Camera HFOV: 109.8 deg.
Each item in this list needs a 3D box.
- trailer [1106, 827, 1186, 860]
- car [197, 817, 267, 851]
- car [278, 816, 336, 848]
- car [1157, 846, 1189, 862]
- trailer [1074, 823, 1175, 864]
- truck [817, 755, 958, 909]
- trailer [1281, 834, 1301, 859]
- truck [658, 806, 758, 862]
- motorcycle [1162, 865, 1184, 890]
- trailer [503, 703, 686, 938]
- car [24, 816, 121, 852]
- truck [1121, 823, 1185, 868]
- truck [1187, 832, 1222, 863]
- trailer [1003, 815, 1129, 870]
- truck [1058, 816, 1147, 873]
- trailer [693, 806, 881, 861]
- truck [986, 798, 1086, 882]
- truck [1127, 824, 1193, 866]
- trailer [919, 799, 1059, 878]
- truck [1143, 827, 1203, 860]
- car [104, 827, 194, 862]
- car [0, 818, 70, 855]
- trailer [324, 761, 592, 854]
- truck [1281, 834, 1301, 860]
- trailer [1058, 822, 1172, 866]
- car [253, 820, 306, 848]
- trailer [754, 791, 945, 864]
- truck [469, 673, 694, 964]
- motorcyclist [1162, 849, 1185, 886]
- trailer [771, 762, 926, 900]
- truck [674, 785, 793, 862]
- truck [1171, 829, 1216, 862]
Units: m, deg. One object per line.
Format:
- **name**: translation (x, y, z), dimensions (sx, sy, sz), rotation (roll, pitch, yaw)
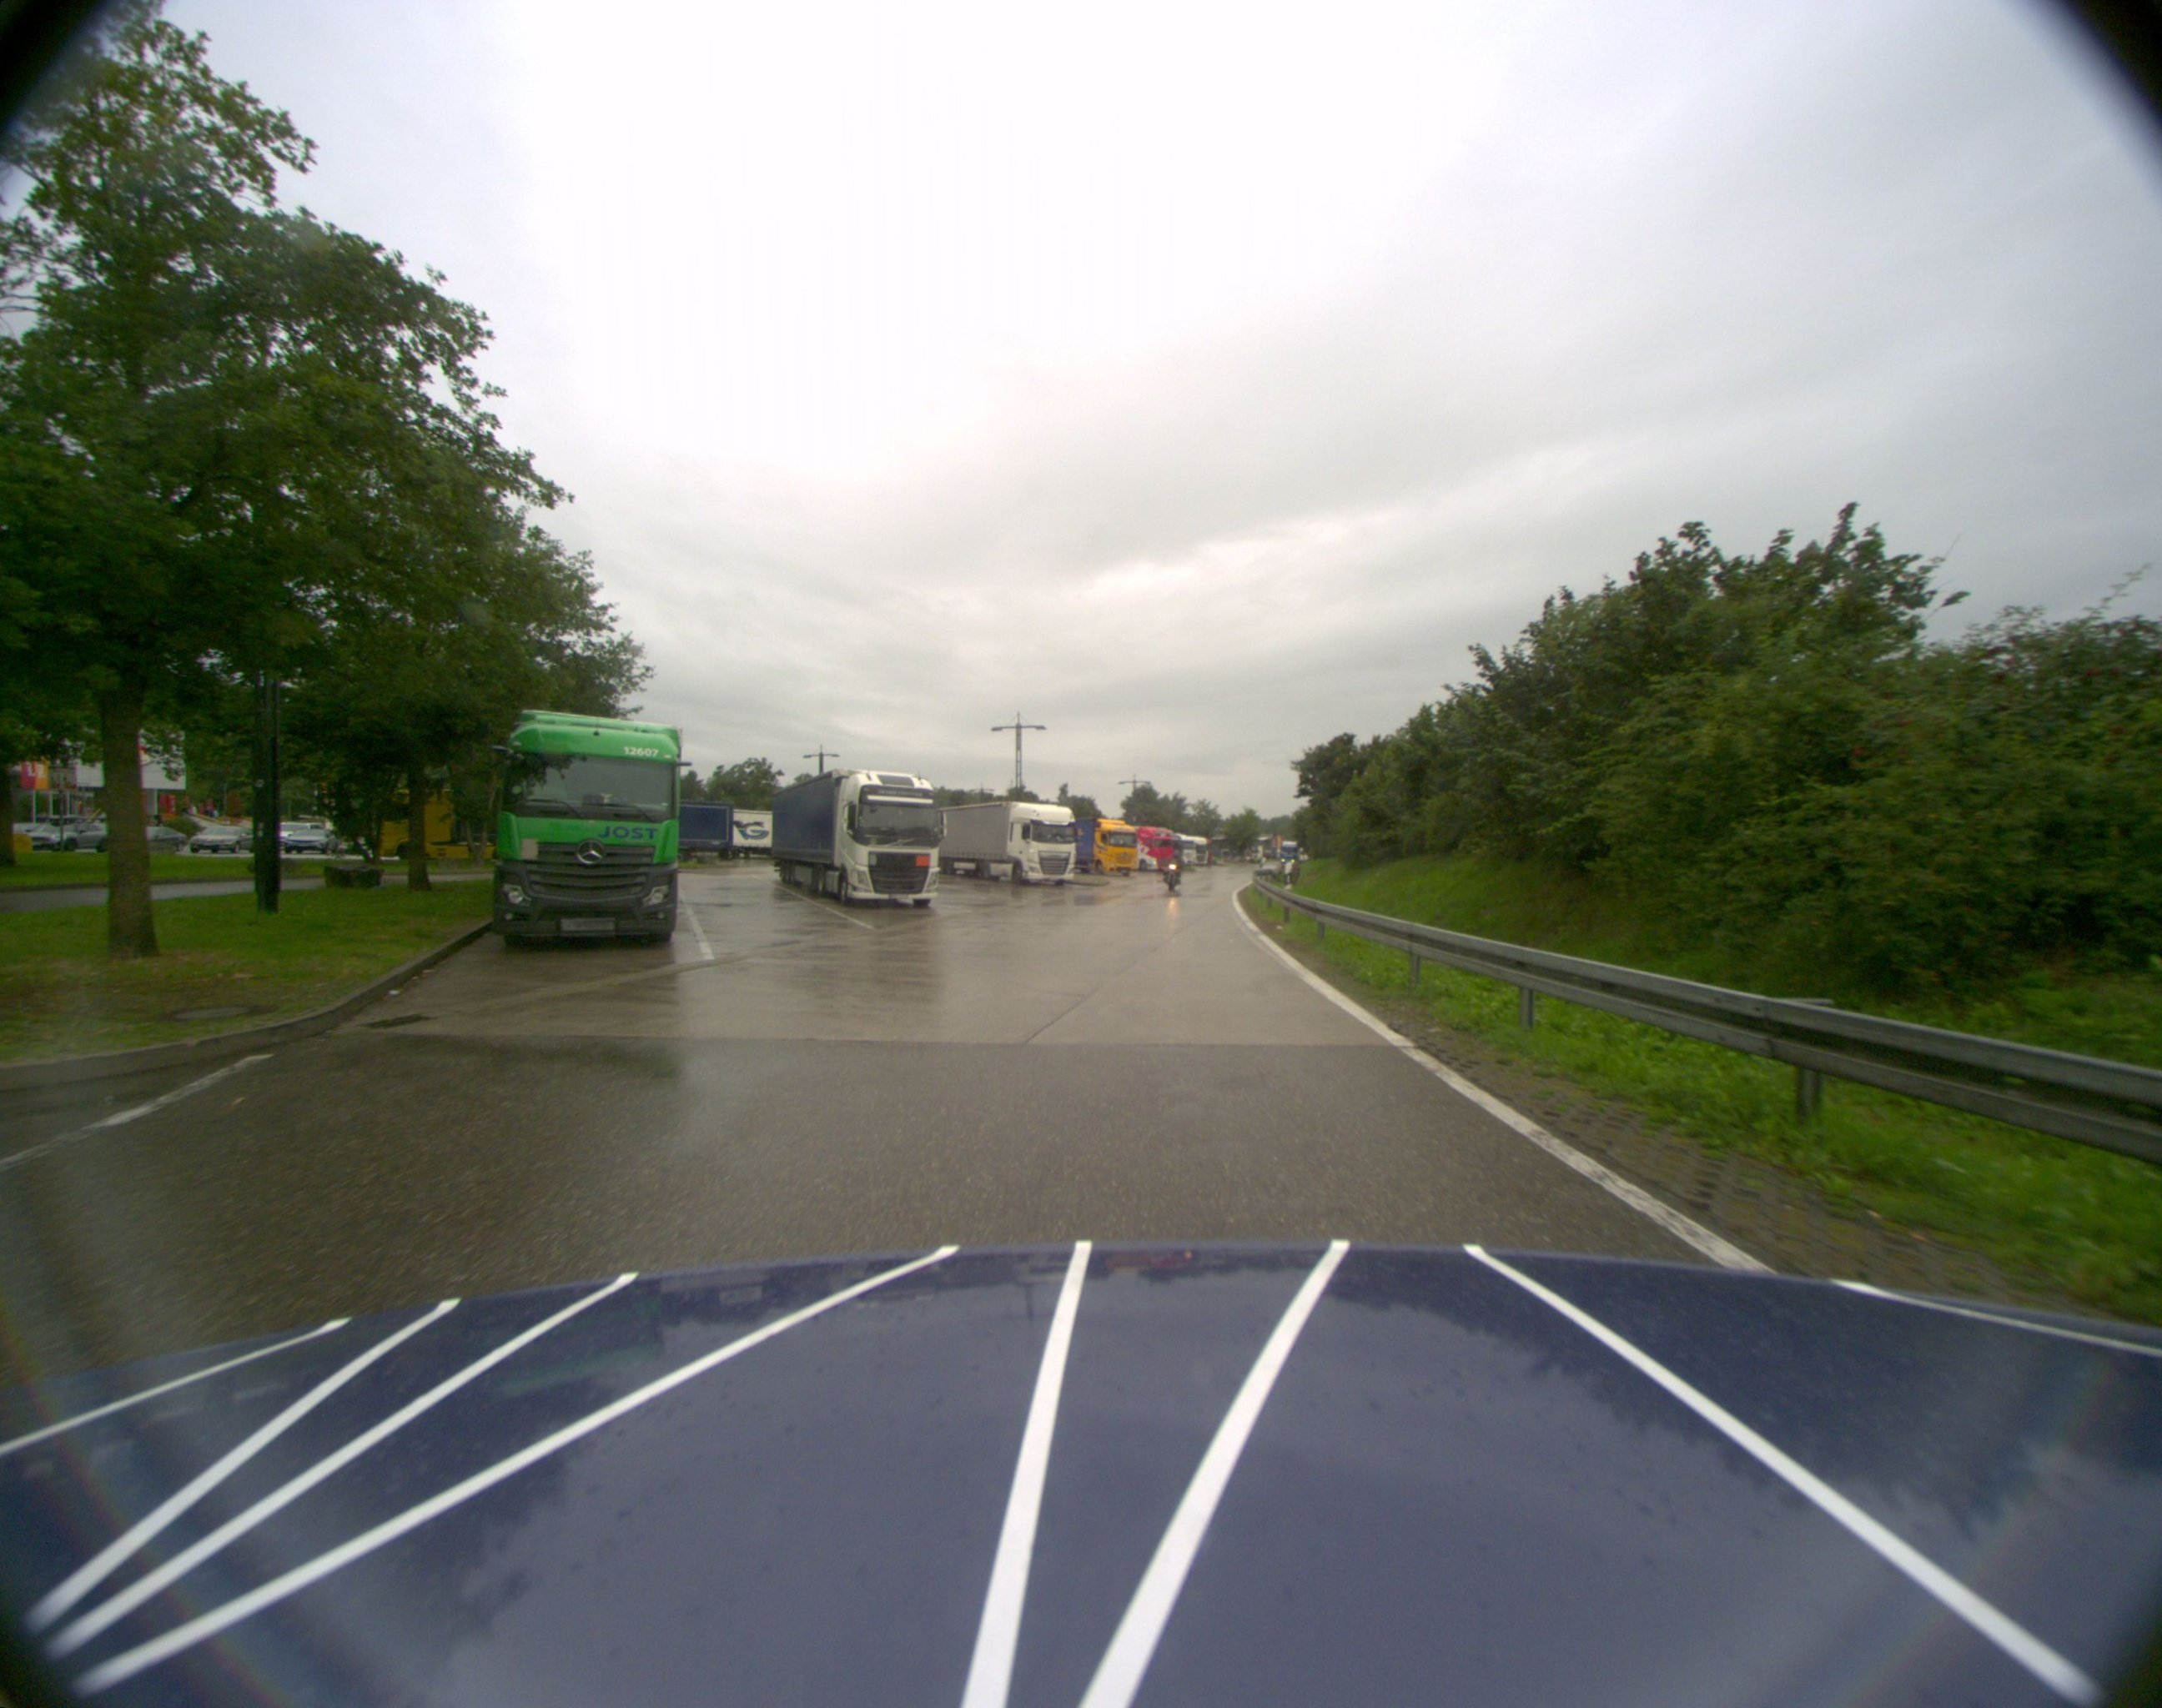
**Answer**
- **trailer**: translation (8.553, -1.516, 103.126), dimensions (3.252, 4.068, 13.496), rotation (1, 1, -32)
- **car**: translation (-51.236, -1.183, 45.938), dimensions (1.859, 1.871, 3.990), rotation (-2, 1, -34)
- **car**: translation (-48.962, -1.381, 48.135), dimensions (1.787, 1.871, 3.990), rotation (-2, 1, -34)
- **car**: translation (11.071, -0.010, 91.773), dimensions (1.851, 1.848, 3.990), rotation (0, 1, -30)
- **trailer**: translation (4.225, -1.152, 79.594), dimensions (2.881, 3.897, 13.898), rotation (1, 1, -32)
- **truck**: translation (-6.078, -0.632, 23.249), dimensions (2.831, 4.122, 5.289), rotation (1, 1, -29)
- **trailer**: translation (38.829, -1.389, 140.076), dimensions (3.239, 4.361, 13.782), rotation (1, 1, 16)
- **truck**: translation (-29.463, -1.580, 60.046), dimensions (6.794, 4.250, 2.662), rotation (-2, 1, -30)
- **motorcycle**: translation (3.950, 0.988, 32.669), dimensions (0.877, 1.016, 2.354), rotation (2, 0, 6)
- **trailer**: translation (-12.482, -0.760, 20.053), dimensions (2.832, 4.126, 13.930), rotation (1, 1, -31)
- **car**: translation (-51.657, -0.994, 39.016), dimensions (1.761, 1.680, 3.990), rotation (-2, 1, -34)
- **truck**: translation (6.518, -0.832, 69.340), dimensions (3.252, 3.897, 5.008), rotation (1, 1, -32)
- **truck**: translation (17.995, -0.993, 111.238), dimensions (2.611, 4.361, 4.616), rotation (0, 1, -32)
- **trailer**: translation (-1.786, -1.032, 62.283), dimensions (2.874, 3.897, 16.592), rotation (1, 1, -29)
- **truck**: translation (1.420, -0.753, 56.439), dimensions (2.845, 3.897, 8.110), rotation (1, 1, -28)
- **trailer**: translation (-24.097, -1.787, 63.082), dimensions (14.187, 4.233, 2.662), rotation (-2, 1, -30)
- **truck**: translation (-2.364, -0.667, 38.323), dimensions (2.836, 3.890, 5.397), rotation (1, 1, -30)
- **truck**: translation (7.636, -0.924, 74.165), dimensions (2.905, 3.897, 6.538), rotation (1, 1, -32)
- **trailer**: translation (-5.862, -0.914, 44.446), dimensions (2.849, 3.897, 13.919), rotation (1, 1, -30)
- **truck**: translation (11.741, -1.370, 98.019), dimensions (3.252, 4.068, 7.917), rotation (1, 1, -32)
- **car**: translation (-54.393, -0.545, 44.466), dimensions (2.004, 1.876, 4.385), rotation (1, 0, -32)
- **car**: translation (-57.740, -0.942, 41.457), dimensions (1.857, 1.871, 3.990), rotation (-2, 1, -34)
- **trailer**: translation (-33.407, -2.469, 41.648), dimensions (10.756, 4.525, 3.430), rotation (-2, 1, -30)
- **truck**: translation (36.976, -1.267, 133.781), dimensions (3.239, 4.361, 6.321), rotation (1, 1, 16)
- **trailer**: translation (2.948, -1.050, 75.047), dimensions (3.252, 3.897, 14.790), rotation (1, 1, -32)
- **car**: translation (-57.481, -1.394, 54.580), dimensions (1.772, 1.871, 3.990), rotation (-2, 1, -34)
- **trailer**: translation (-15.679, -1.658, 52.152), dimensions (12.053, 4.448, 3.251), rotation (1, 1, -30)
- **truck**: translation (-8.989, -0.556, 14.081), dimensions (2.832, 4.126, 5.982), rotation (1, 1, -31)
- **motorcyclist**: translation (3.956, 0.568, 32.598), dimensions (0.877, 1.558, 1.374), rotation (2, 0, 6)
- **trailer**: translation (-9.599, -0.862, 29.570), dimensions (2.831, 4.147, 13.958), rotation (1, 1, -29)
- **truck**: translation (-22.120, -1.824, 48.392), dimensions (6.547, 4.481, 3.251), rotation (1, 1, -30)
- **truck**: translation (15.691, -1.202, 106.176), dimensions (3.252, 4.361, 5.798), rotation (0, 1, -32)
